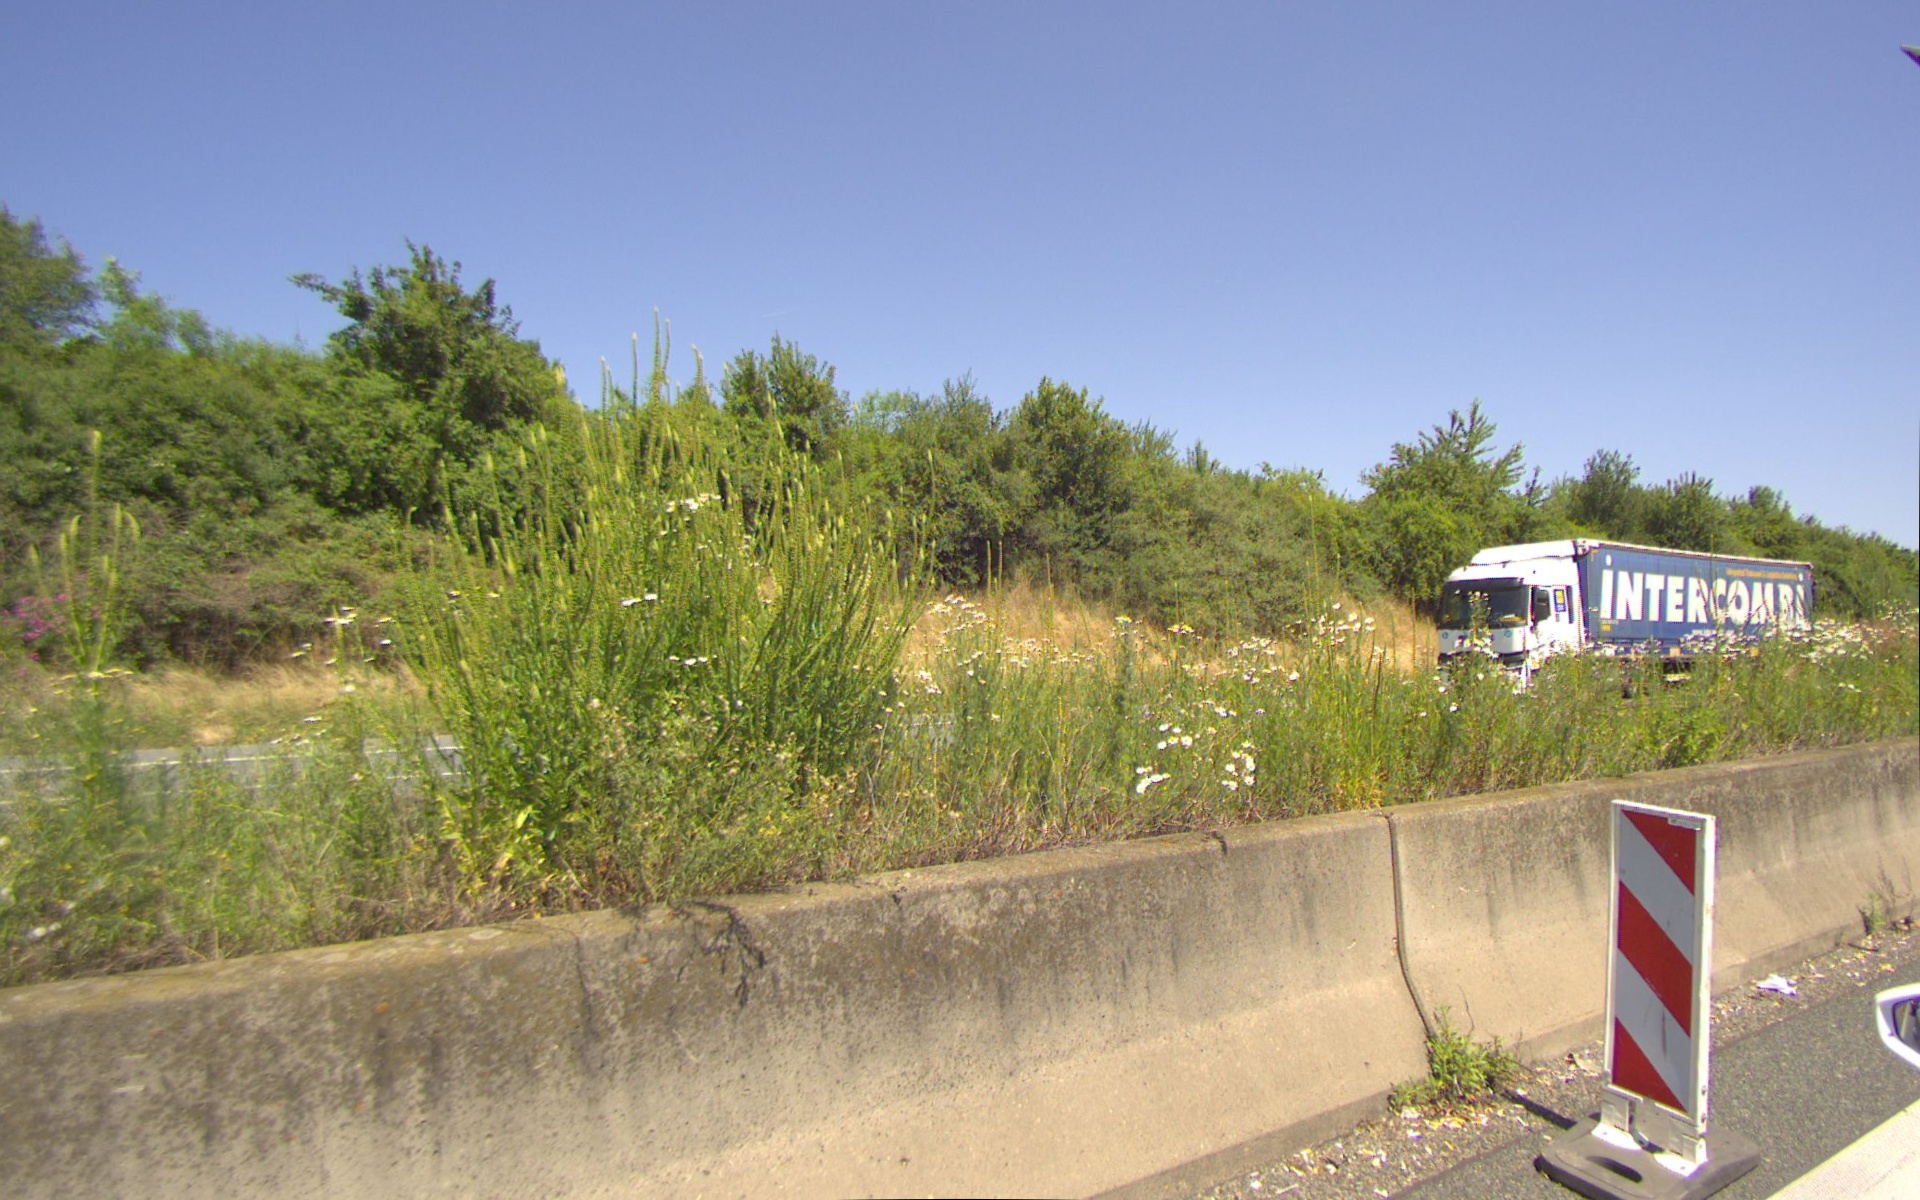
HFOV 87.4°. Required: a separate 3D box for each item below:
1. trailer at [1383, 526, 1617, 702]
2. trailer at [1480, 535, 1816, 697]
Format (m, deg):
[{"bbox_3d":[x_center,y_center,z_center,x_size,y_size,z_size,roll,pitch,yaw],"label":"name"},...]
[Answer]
[{"bbox_3d":[13.962,0.440,25.977,5.370,4.110,2.947,1,-3,-31],"label":"trailer"},{"bbox_3d":[21.081,0.612,30.256,13.438,4.110,2.947,1,-3,-31],"label":"trailer"}]
